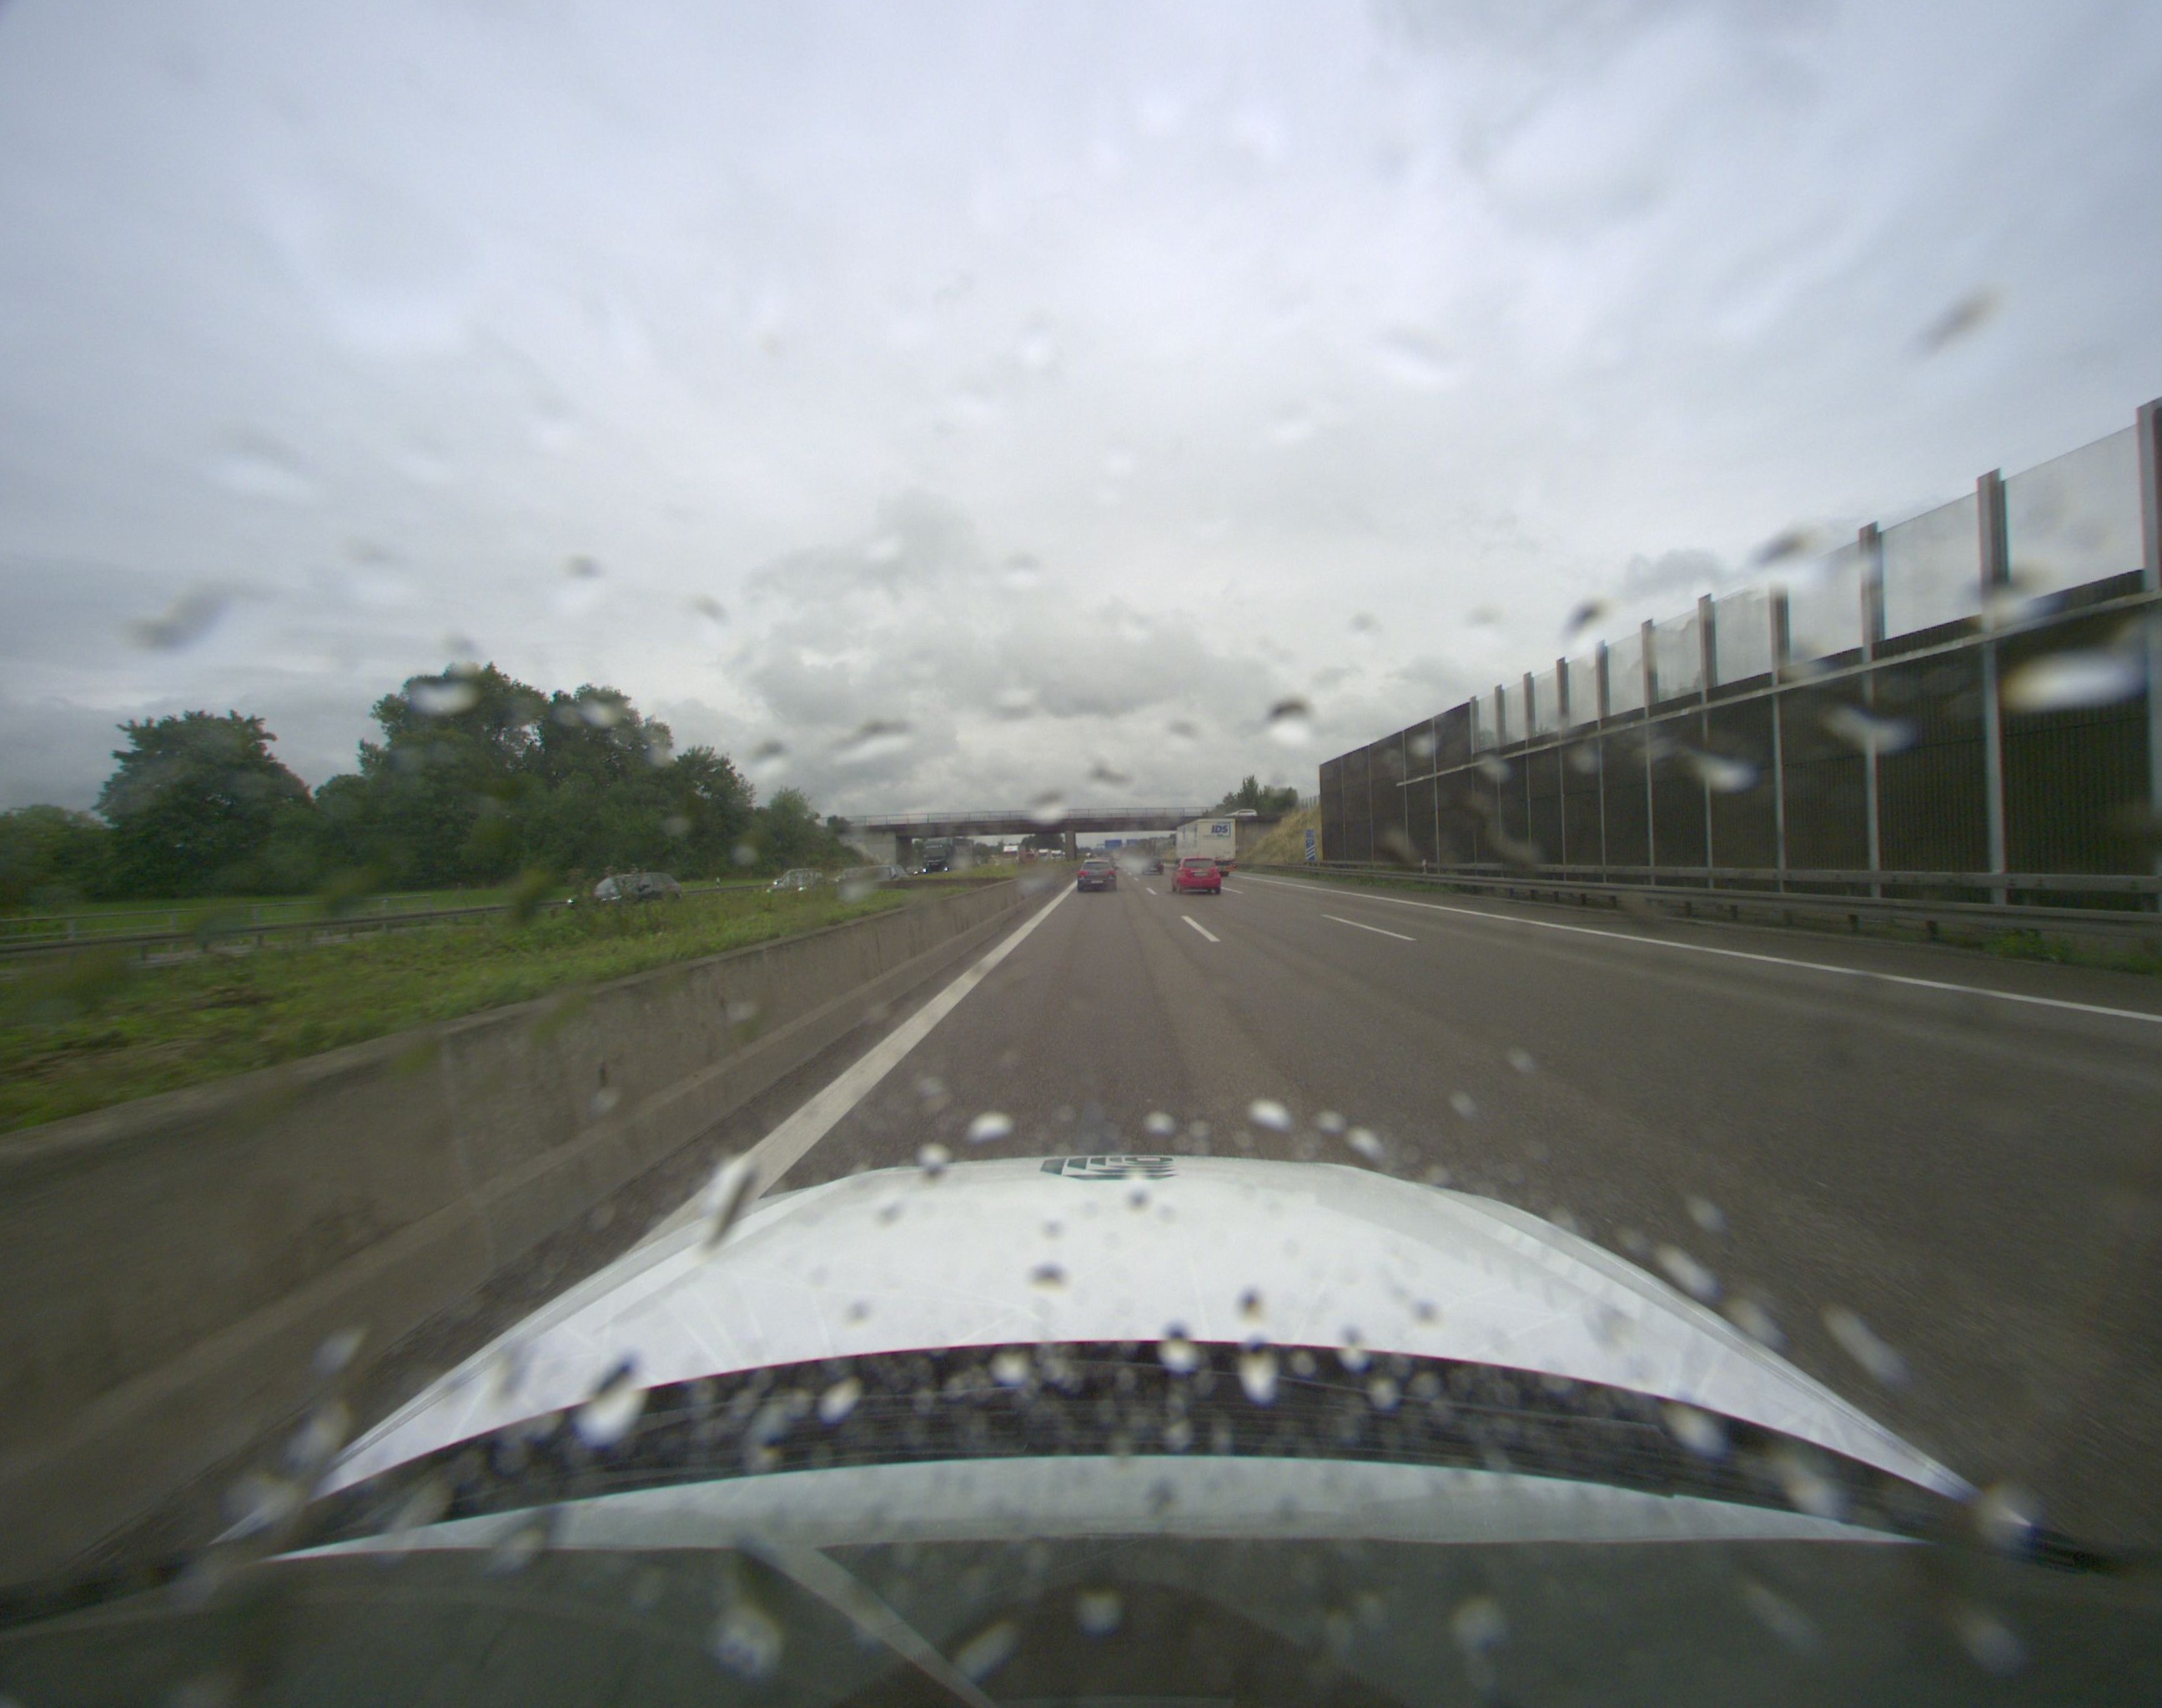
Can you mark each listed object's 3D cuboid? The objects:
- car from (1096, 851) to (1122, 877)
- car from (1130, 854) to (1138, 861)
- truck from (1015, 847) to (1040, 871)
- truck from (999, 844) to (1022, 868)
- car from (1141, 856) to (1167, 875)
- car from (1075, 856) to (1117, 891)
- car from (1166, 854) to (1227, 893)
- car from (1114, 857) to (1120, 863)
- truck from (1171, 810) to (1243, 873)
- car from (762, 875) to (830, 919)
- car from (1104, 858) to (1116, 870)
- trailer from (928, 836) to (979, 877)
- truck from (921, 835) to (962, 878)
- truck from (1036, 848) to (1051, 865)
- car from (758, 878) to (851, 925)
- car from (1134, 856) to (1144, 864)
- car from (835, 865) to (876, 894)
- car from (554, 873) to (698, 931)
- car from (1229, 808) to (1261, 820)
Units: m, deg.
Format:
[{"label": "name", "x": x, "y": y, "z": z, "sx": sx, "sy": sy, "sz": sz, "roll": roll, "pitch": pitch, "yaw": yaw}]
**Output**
[{"label": "car", "x": 2.222, "y": 0.775, "z": 64.577, "sx": 1.986, "sy": 1.861, "sz": 4.002, "roll": -3, "pitch": 0, "yaw": 2}, {"label": "car", "x": 14.467, "y": 0.920, "z": 221.218, "sx": 1.986, "sy": 1.812, "sz": 4.229, "roll": -3, "pitch": 0, "yaw": 2}, {"label": "truck", "x": -11.486, "y": 1.163, "z": 177.343, "sx": 4.018, "sy": 4.944, "sz": 14.439, "roll": 0, "pitch": -1, "yaw": 2}, {"label": "truck", "x": -12.239, "y": 0.323, "z": 141.747, "sx": 3.260, "sy": 4.045, "sz": 5.294, "roll": 0, "pitch": -1, "yaw": 2}, {"label": "car", "x": 5.979, "y": 0.932, "z": 67.183, "sx": 1.914, "sy": 1.522, "sz": 4.624, "roll": -1, "pitch": 0, "yaw": 2}, {"label": "car", "x": 0.693, "y": 0.856, "z": 36.950, "sx": 1.762, "sy": 1.467, "sz": 4.001, "roll": 0, "pitch": -1, "yaw": 1}, {"label": "car", "x": 4.684, "y": 0.750, "z": 33.683, "sx": 1.884, "sy": 1.446, "sz": 4.685, "roll": -1, "pitch": 0, "yaw": 1}, {"label": "car", "x": 11.446, "y": 1.942, "z": 259.831, "sx": 1.986, "sy": 2.014, "sz": 4.243, "roll": 0, "pitch": -1, "yaw": 2}, {"label": "truck", "x": 9.627, "y": -0.756, "z": 65.036, "sx": 3.271, "sy": 4.295, "sz": 19.037, "roll": 0, "pitch": -1, "yaw": 2}, {"label": "car", "x": -15.110, "y": 2.240, "z": 43.391, "sx": 1.986, "sy": 2.013, "sz": 4.002, "roll": -3, "pitch": 0, "yaw": 2}, {"label": "car", "x": 4.580, "y": 1.497, "z": 128.060, "sx": 1.699, "sy": 1.796, "sz": 3.854, "roll": -3, "pitch": 0, "yaw": 0}, {"label": "trailer", "x": -13.500, "y": 0.313, "z": 87.756, "sx": 2.747, "sy": 4.050, "sz": 14.524, "roll": 0, "pitch": -1, "yaw": 2}, {"label": "truck", "x": -13.769, "y": 0.271, "z": 80.707, "sx": 2.747, "sy": 4.050, "sz": 6.257, "roll": 0, "pitch": -1, "yaw": 2}, {"label": "truck", "x": -9.926, "y": 0.756, "z": 216.935, "sx": 2.965, "sy": 4.319, "sz": 9.674, "roll": 0, "pitch": -1, "yaw": 2}, {"label": "car", "x": -11.693, "y": 1.946, "z": 34.825, "sx": 2.085, "sy": 1.710, "sz": 4.803, "roll": -1, "pitch": 0, "yaw": 3}, {"label": "car", "x": 12.180, "y": 1.281, "z": 170.169, "sx": 1.839, "sy": 1.687, "sz": 4.000, "roll": 0, "pitch": -1, "yaw": 1}, {"label": "car", "x": -17.542, "y": 1.950, "z": 63.621, "sx": 1.814, "sy": 1.969, "sz": 5.257, "roll": -3, "pitch": 0, "yaw": -2}, {"label": "car", "x": -15.875, "y": 1.614, "z": 28.781, "sx": 2.085, "sy": 1.710, "sz": 4.965, "roll": -1, "pitch": 0, "yaw": 3}, {"label": "car", "x": 22.536, "y": -5.498, "z": 112.112, "sx": 3.989, "sy": 1.618, "sz": 1.872, "roll": 0, "pitch": -1, "yaw": -12}]
